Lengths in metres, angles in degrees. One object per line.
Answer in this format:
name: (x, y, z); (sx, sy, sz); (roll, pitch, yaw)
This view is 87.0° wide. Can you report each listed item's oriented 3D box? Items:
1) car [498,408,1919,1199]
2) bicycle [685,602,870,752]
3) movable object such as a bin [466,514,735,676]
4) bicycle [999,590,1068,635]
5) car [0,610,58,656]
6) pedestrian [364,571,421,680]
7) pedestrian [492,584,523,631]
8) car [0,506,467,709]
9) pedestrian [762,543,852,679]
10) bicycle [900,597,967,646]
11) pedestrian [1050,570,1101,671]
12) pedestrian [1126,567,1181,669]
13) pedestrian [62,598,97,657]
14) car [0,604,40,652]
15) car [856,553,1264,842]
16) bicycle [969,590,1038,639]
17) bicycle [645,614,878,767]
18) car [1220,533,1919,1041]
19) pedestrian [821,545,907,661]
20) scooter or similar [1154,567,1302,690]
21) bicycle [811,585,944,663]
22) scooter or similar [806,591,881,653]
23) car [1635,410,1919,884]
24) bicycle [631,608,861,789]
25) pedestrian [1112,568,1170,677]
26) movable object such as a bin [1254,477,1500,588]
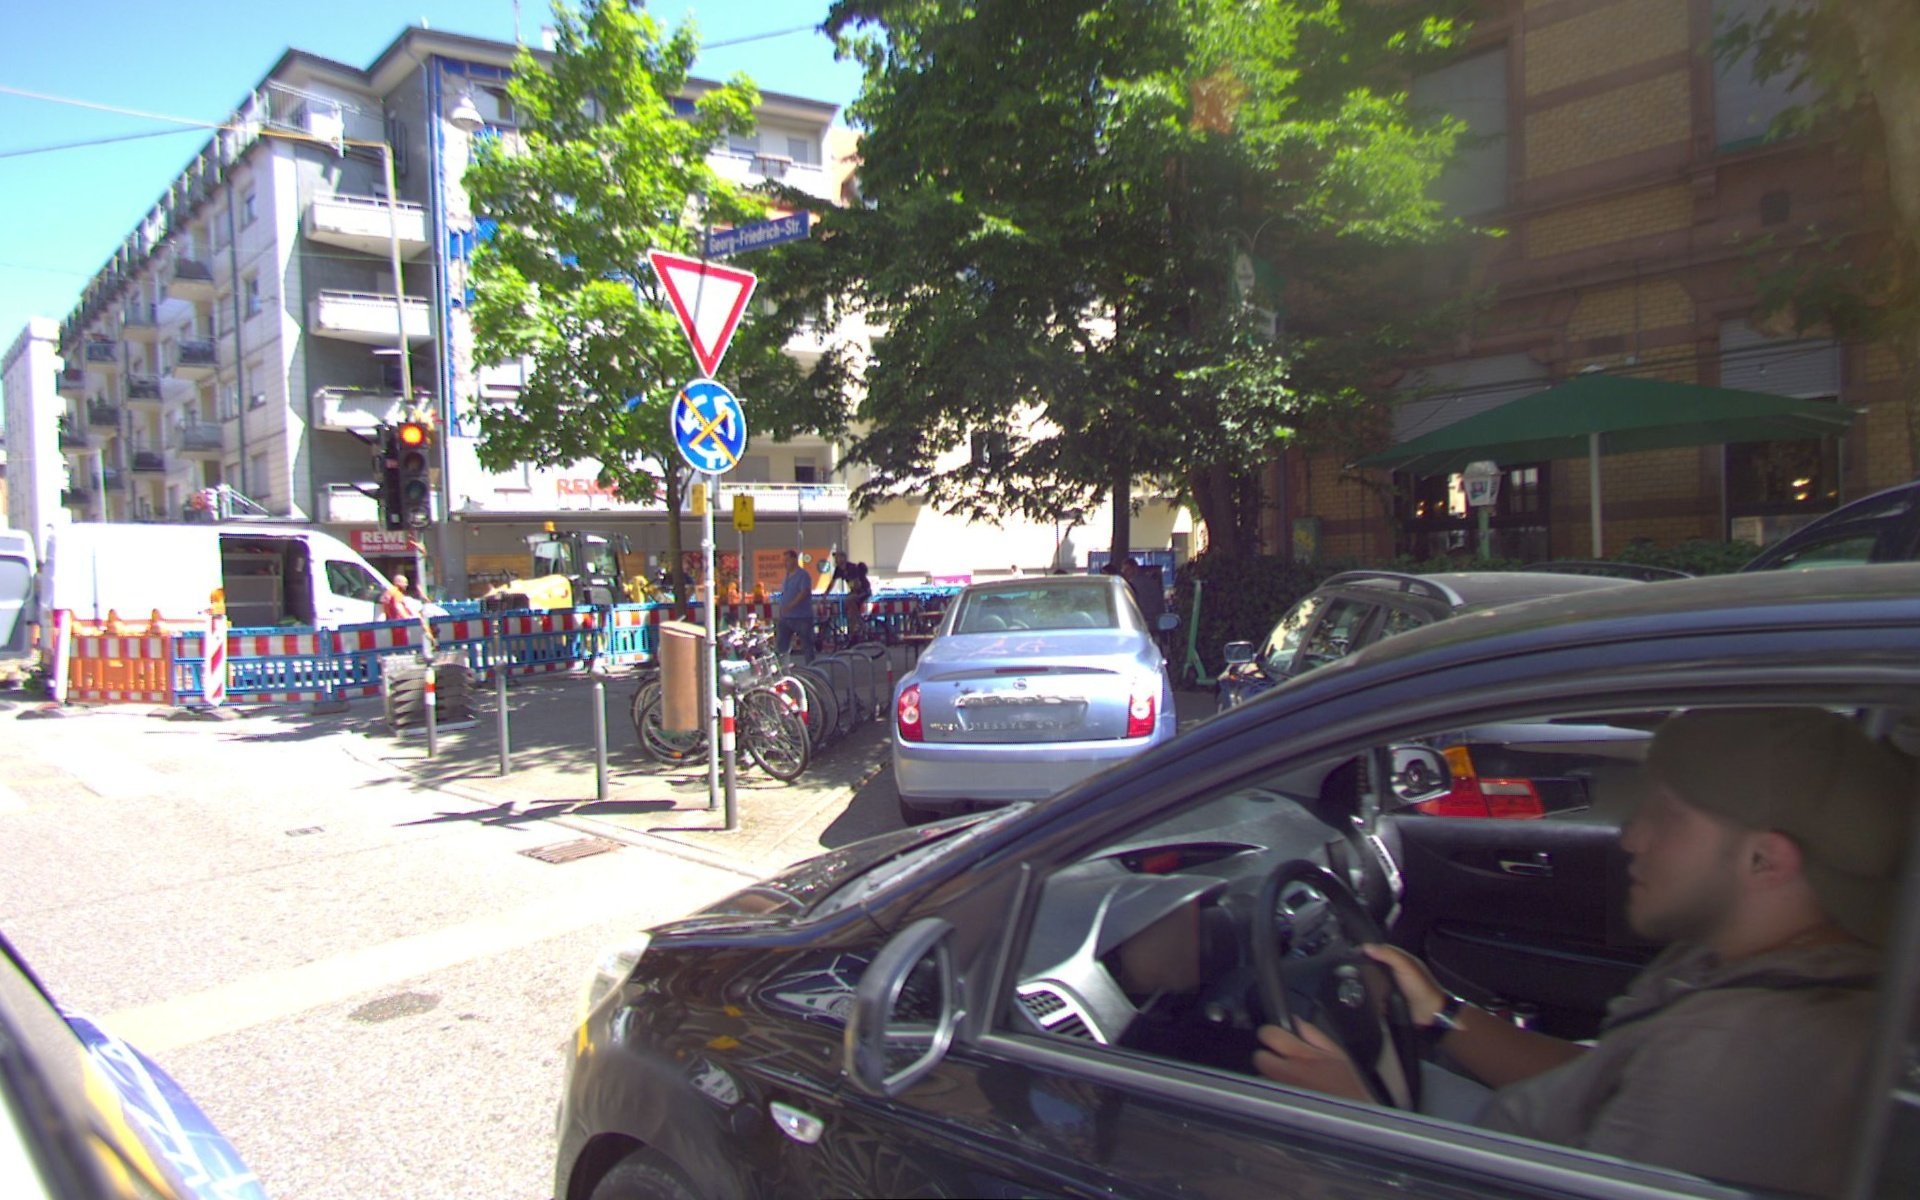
car: (1.272, 0.593, 1.119); (3.998, 1.455, 1.736); (-1, 1, 41)
bicycle: (-1.549, 0.629, 8.485); (1.612, 1.165, 0.335); (-2, 2, 28)
movable object such as a bin: (-6.594, -0.132, 19.104); (1.947, 2.679, 4.511); (-2, 1, 31)
bicycle: (1.613, 0.261, 22.518); (0.483, 0.942, 1.817); (-3, 2, -34)
car: (-35.188, 1.218, 37.790); (4.462, 1.536, 1.653); (-1, 2, 41)
pedestrian: (-9.576, 0.418, 17.070); (0.769, 1.766, 0.519); (-1, 3, 41)
pedestrian: (-13.330, 0.224, 29.825); (0.657, 1.349, 0.519); (-1, 3, 41)
car: (-12.034, 0.024, 16.728); (2.379, 2.772, 6.551); (0, 1, 42)
pedestrian: (-2.026, 0.136, 13.384); (0.929, 1.716, 0.631); (-1, 3, 37)
bicycle: (-0.575, 0.437, 21.190); (0.483, 0.971, 1.817); (-3, 2, -34)
pedestrian: (1.456, 0.249, 12.807); (0.591, 1.229, 0.557); (-2, 1, 7)
pedestrian: (2.418, 0.218, 12.701); (0.591, 1.229, 0.557); (-2, 1, 7)
pedestrian: (-26.606, 0.819, 30.578); (0.632, 1.739, 0.650); (-1, 1, 38)
car: (-39.892, 1.188, 41.946); (4.692, 1.824, 1.772); (-2, 2, 38)
car: (0.807, 0.427, 7.033); (1.978, 1.385, 3.988); (-3, 2, 10)
bicycle: (0.926, 0.323, 22.056); (0.483, 0.996, 1.817); (-3, 0, -34)
bicycle: (-1.607, 0.694, 8.055); (1.890, 1.089, 0.488); (-2, 2, 28)
car: (2.669, 0.465, 4.904); (1.946, 1.422, 3.996); (-3, 2, 4)
pedestrian: (-1.571, 0.031, 16.577); (0.993, 1.803, 0.866); (-5, 3, -43)
scooter or similar: (2.625, 0.267, 10.046); (0.274, 1.129, 1.472); (-6, 3, -41)
bicycle: (-1.313, 0.356, 16.566); (2.254, 1.094, 0.602); (-5, 3, -44)
scooter or similar: (-2.217, 0.424, 19.143); (1.472, 1.114, 0.518); (-3, -1, 42)
car: (4.514, 0.154, 3.615); (1.747, 1.817, 3.994); (-3, 2, 5)
bicycle: (-1.582, 0.683, 7.385); (1.677, 1.182, 0.487); (-2, 2, 29)
pedestrian: (2.109, 0.251, 11.837); (0.591, 1.229, 0.557); (-2, 1, 7)
movable object such as a bin: (13.413, -2.153, 32.746); (6.634, 3.236, 3.326); (-3, 2, -16)
